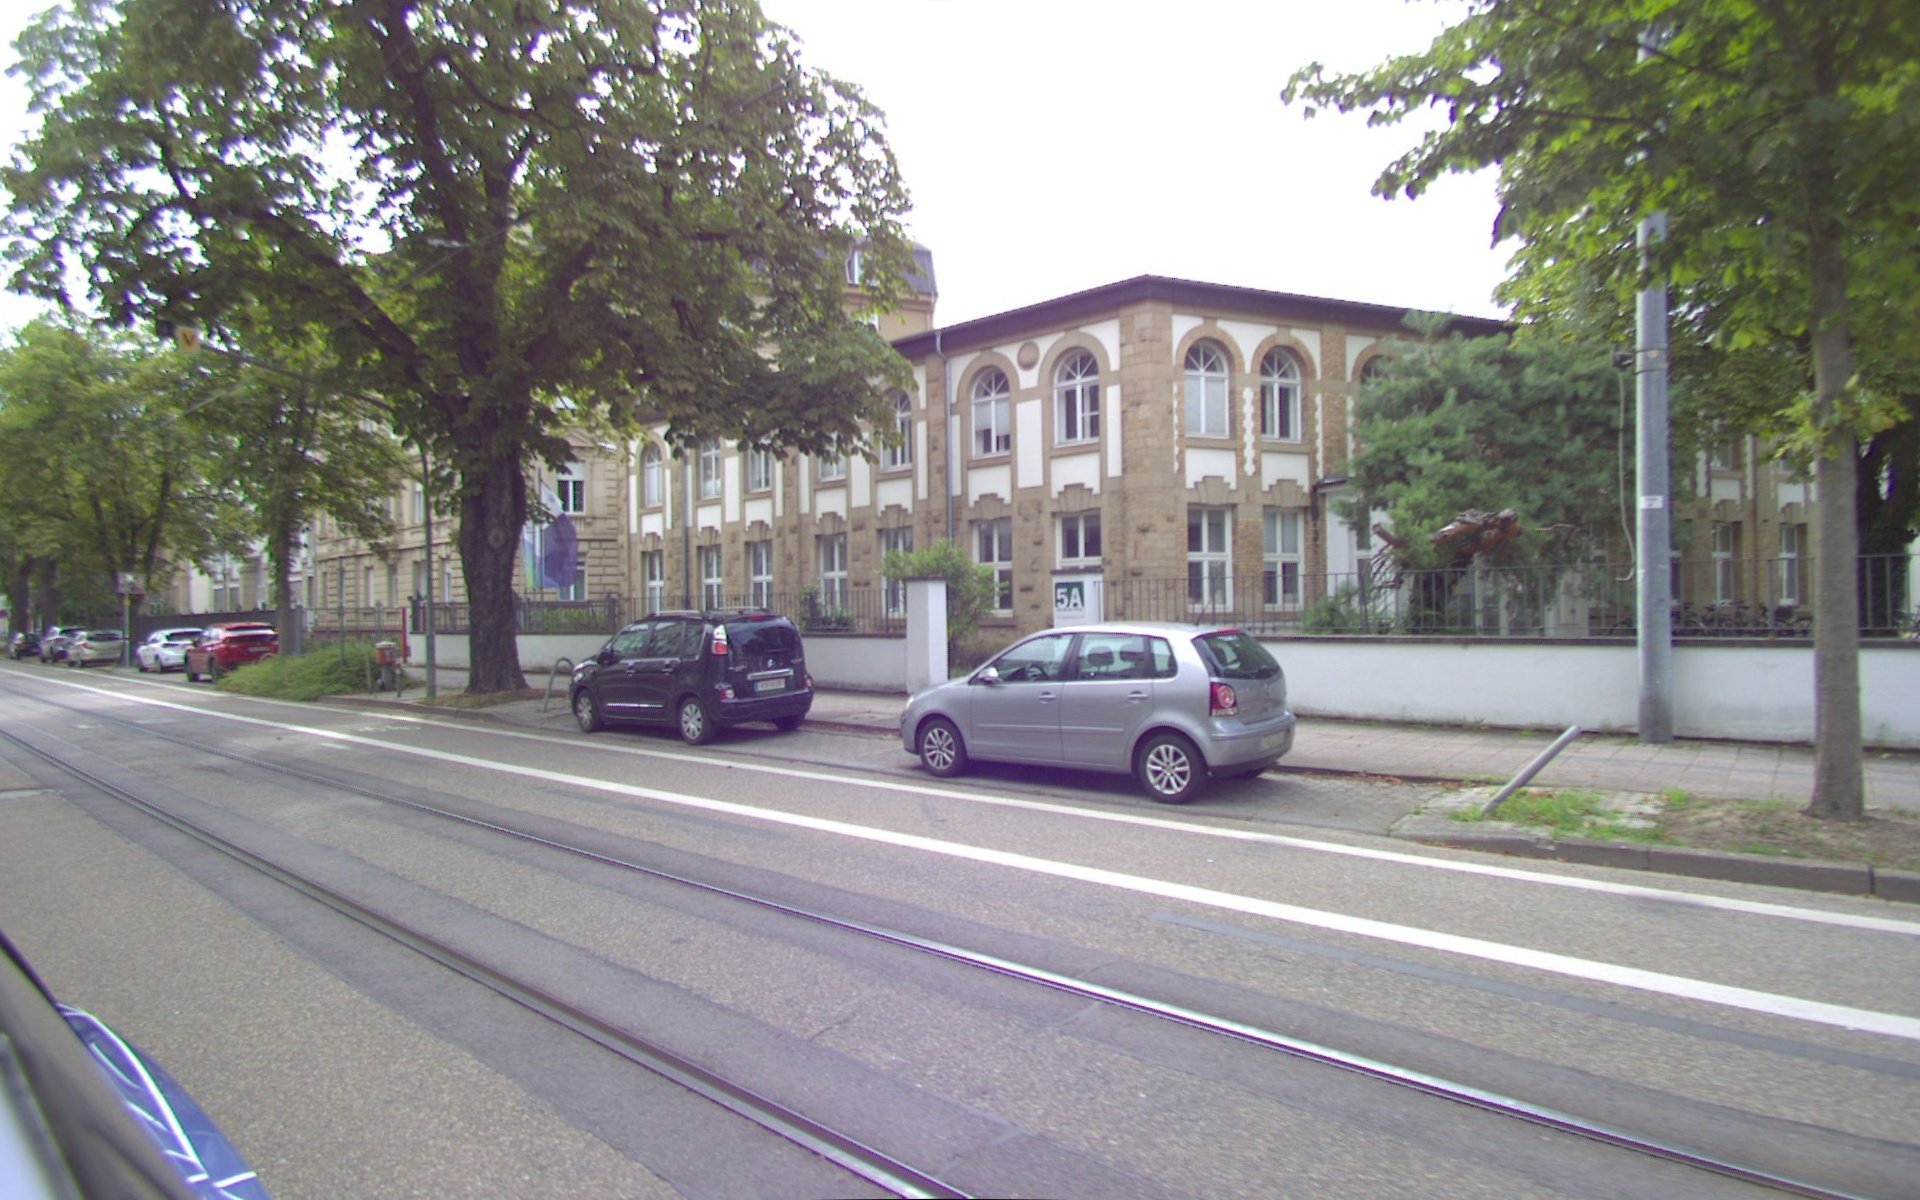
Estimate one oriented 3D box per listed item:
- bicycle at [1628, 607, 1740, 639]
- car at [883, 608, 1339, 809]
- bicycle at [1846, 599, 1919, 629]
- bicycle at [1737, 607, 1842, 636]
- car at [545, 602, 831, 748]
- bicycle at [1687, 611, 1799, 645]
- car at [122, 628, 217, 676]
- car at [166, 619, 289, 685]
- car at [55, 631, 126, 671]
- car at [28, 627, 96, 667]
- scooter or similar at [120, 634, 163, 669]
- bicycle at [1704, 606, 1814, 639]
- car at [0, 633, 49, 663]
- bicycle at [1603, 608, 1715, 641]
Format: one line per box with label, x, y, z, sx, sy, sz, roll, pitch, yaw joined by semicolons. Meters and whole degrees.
bicycle;17.298;0.539;24.231;0.702;0.713;2.053;-2;0;-29
car;1.261;0.855;9.380;3.865;1.438;1.676;-2;0;40
bicycle;25.660;0.376;27.658;0.702;0.779;2.053;-2;0;-29
bicycle;21.663;0.569;26.485;2.041;0.713;0.706;-2;0;34
car;-3.788;0.920;13.762;4.049;1.659;1.738;-2;0;40
bicycle;19.366;0.694;25.076;0.702;0.779;2.053;-2;0;-29
car;-27.201;1.760;34.792;4.020;1.434;1.704;-2;1;40
car;-20.917;1.440;28.834;4.538;1.667;1.704;-2;1;40
car;-35.235;2.042;40.985;4.076;1.479;1.584;-2;-1;40
car;-40.835;2.135;45.986;4.354;1.686;1.693;-2;-1;40
scooter or similar;-29.747;1.882;36.779;1.312;1.232;0.559;-2;-1;17
bicycle;20.163;0.553;25.583;0.702;0.779;2.053;-2;0;-29
car;-50.171;2.558;54.129;4.165;1.435;1.702;-2;1;43
bicycle;16.436;0.567;23.857;0.702;0.713;2.053;-2;0;-29
